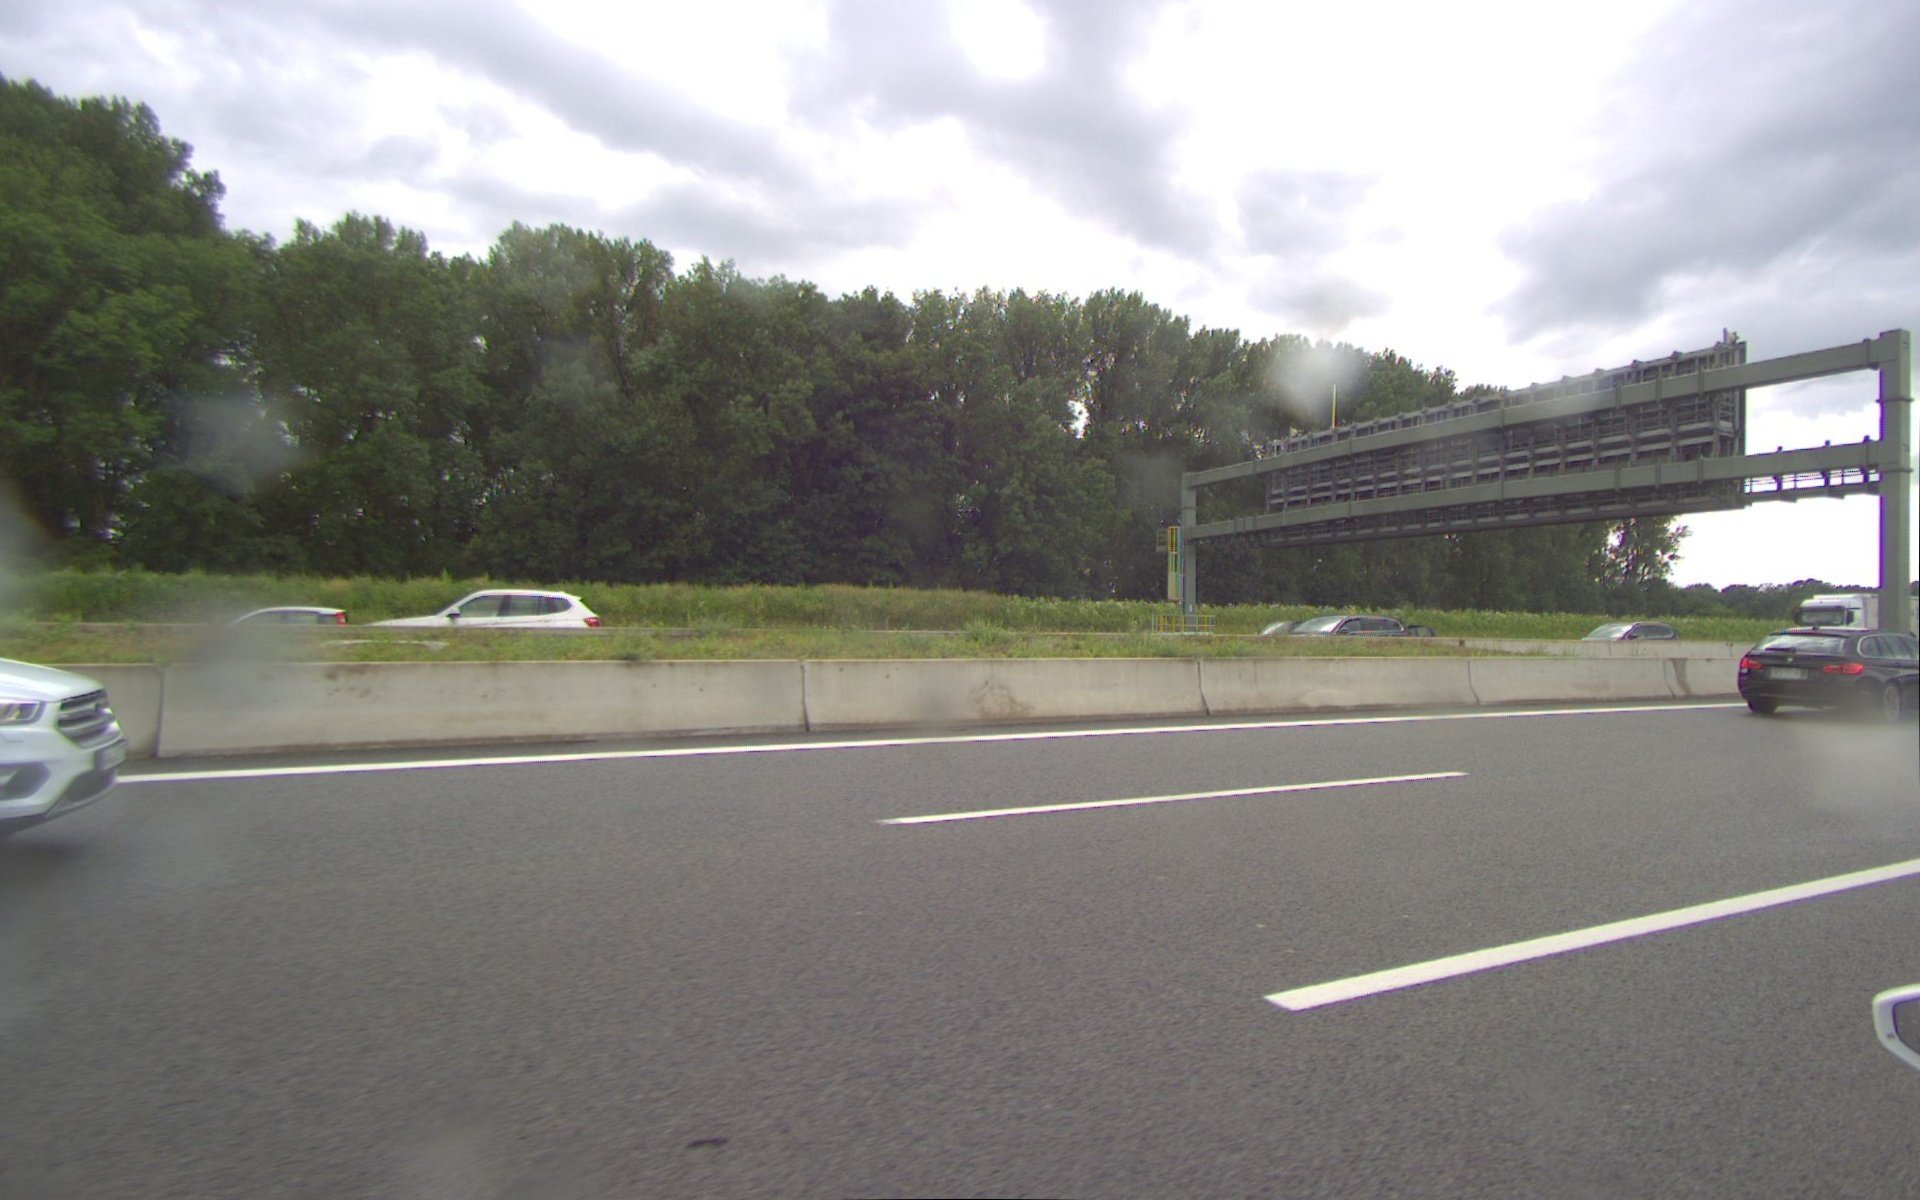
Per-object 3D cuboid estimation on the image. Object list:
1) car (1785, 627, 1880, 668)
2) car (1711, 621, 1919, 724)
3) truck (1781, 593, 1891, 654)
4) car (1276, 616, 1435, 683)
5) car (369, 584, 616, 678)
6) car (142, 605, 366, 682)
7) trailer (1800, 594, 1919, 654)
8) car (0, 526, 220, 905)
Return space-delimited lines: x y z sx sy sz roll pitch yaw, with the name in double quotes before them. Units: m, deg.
"car" 40.073 2.177 46.126 3.967 1.750 1.986 2 0 -28
"car" 14.811 1.162 16.794 4.293 1.501 1.776 2 0 -25
"truck" 53.938 1.444 61.865 6.024 3.554 3.123 2 0 -28
"car" 10.519 1.294 26.681 3.950 1.636 1.790 2 0 -28
"car" -9.332 0.617 20.175 4.302 1.720 1.772 2 0 -30
"car" -17.111 1.057 24.645 4.302 1.720 1.772 2 0 -30
"trailer" 59.738 1.618 64.975 14.271 3.554 3.097 2 0 -28
"car" -6.386 0.478 4.413 4.793 1.712 1.807 2 -1 -29
